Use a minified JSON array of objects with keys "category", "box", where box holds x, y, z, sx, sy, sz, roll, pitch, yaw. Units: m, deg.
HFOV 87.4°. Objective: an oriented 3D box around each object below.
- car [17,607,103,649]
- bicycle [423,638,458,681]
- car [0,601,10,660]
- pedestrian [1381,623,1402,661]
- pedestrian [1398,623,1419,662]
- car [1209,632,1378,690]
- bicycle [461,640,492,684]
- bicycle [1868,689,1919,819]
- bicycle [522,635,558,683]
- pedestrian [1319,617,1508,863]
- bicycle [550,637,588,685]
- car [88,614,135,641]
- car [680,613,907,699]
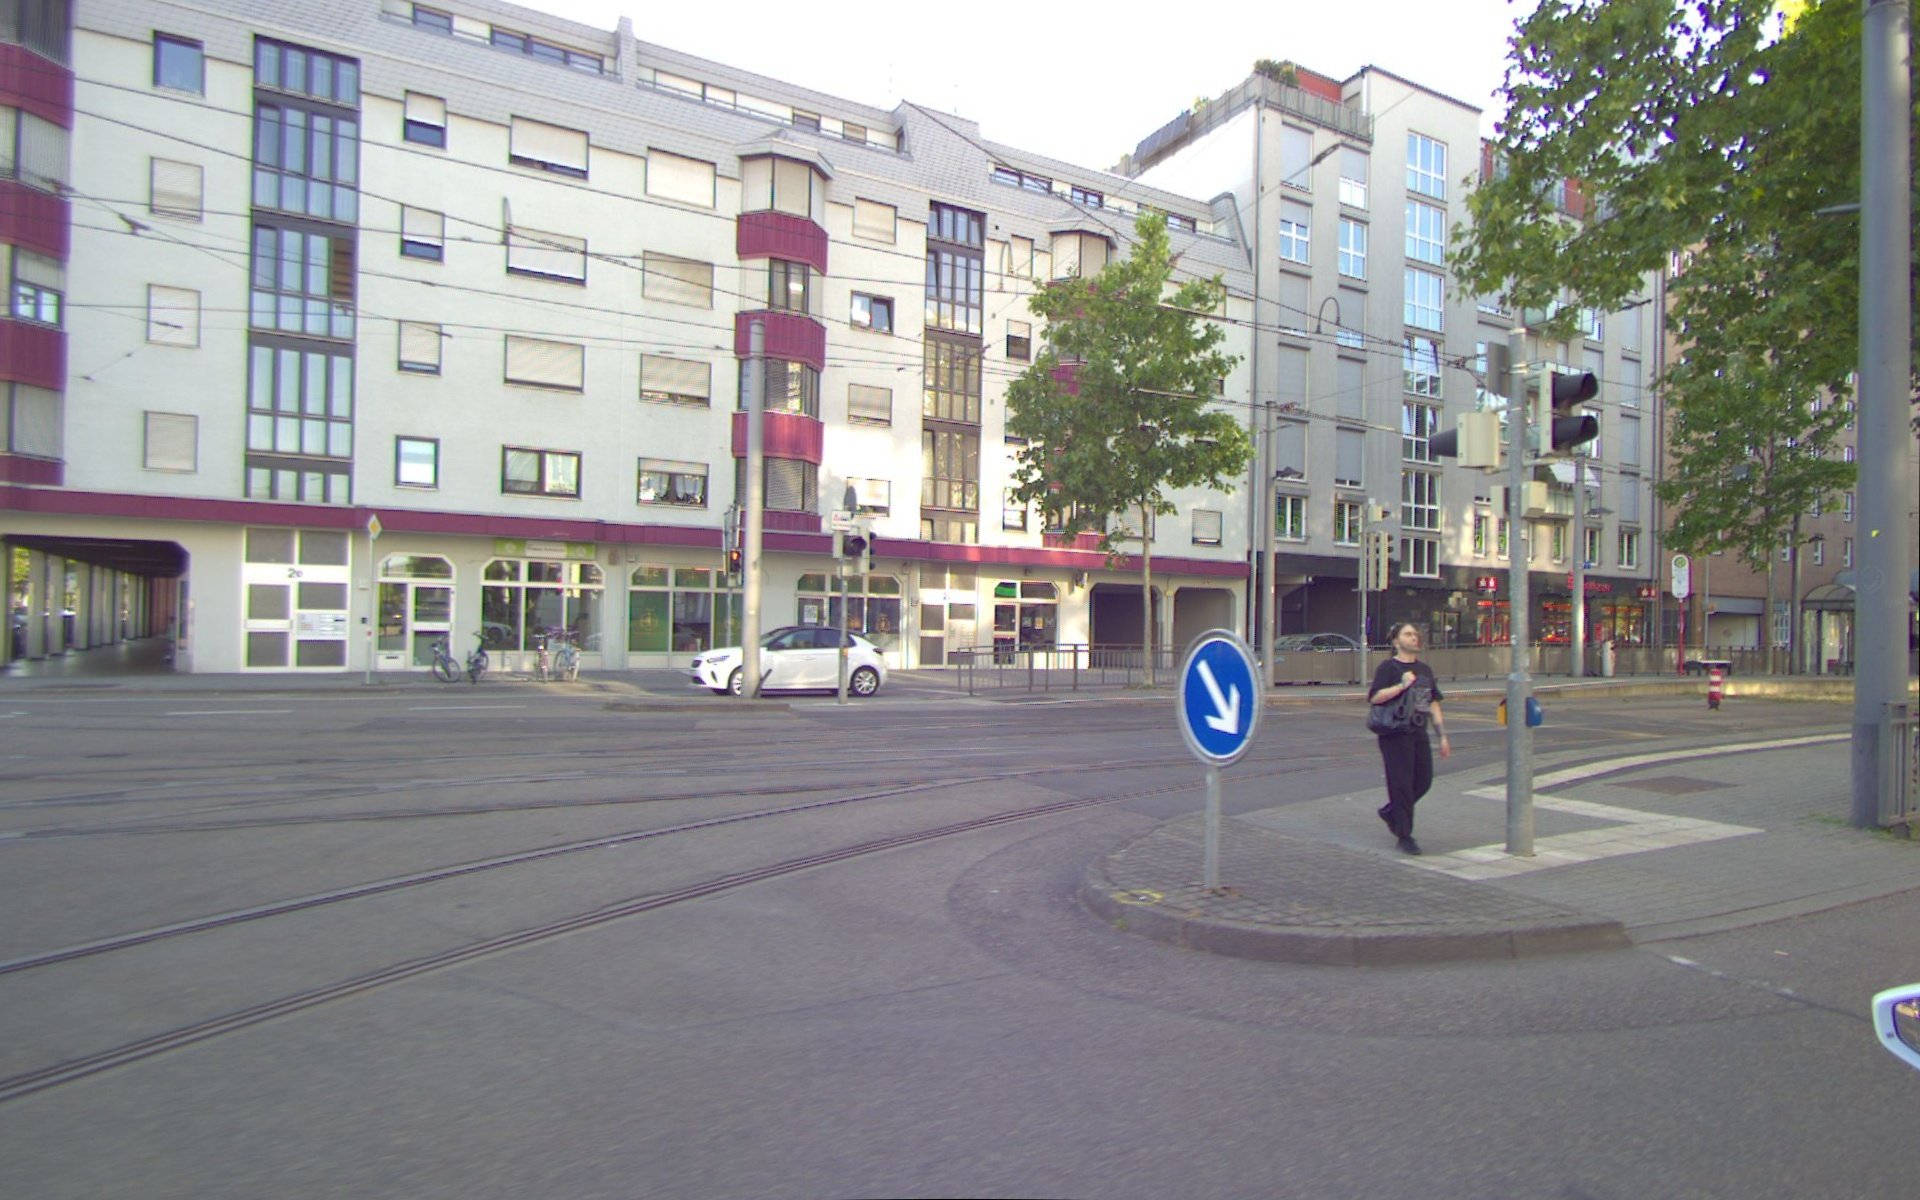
[{"category":"car","box":[-36.002,1.104,40.303,1.980,1.576,4.540,2,-2,-35]},{"category":"bicycle","box":[-11.411,1.300,22.083,0.545,0.865,1.838,2,-1,-24]},{"category":"car","box":[-25.669,0.770,25.238,1.980,1.576,3.961,2,-2,-35]},{"category":"pedestrian","box":[17.525,1.690,40.773,0.581,1.514,0.532,2,-1,-30]},{"category":"pedestrian","box":[17.990,1.704,40.302,0.581,1.514,0.532,2,-1,-30]},{"category":"car","box":[9.046,1.631,27.133,4.596,1.418,1.692,2,-1,-30]},{"category":"bicycle","box":[-10.513,1.337,21.879,0.545,0.865,1.838,2,-1,-24]},{"category":"bicycle","box":[8.074,1.226,8.226,1.331,0.961,0.395,-1,0,-22]},{"category":"bicycle","box":[-9.411,1.304,22.490,0.546,0.998,1.835,2,-1,-29]},{"category":"pedestrian","box":[3.124,0.909,6.997,0.683,1.564,1.045,1,-1,-17]},{"category":"bicycle","box":[-8.829,1.350,22.662,0.546,0.998,1.835,2,-1,-29]},{"category":"car","box":[-43.228,1.382,51.209,1.445,1.351,3.153,2,-1,-34]},{"category":"car","box":[-3.410,1.112,20.627,4.207,1.616,1.947,2,-1,-28]}]
